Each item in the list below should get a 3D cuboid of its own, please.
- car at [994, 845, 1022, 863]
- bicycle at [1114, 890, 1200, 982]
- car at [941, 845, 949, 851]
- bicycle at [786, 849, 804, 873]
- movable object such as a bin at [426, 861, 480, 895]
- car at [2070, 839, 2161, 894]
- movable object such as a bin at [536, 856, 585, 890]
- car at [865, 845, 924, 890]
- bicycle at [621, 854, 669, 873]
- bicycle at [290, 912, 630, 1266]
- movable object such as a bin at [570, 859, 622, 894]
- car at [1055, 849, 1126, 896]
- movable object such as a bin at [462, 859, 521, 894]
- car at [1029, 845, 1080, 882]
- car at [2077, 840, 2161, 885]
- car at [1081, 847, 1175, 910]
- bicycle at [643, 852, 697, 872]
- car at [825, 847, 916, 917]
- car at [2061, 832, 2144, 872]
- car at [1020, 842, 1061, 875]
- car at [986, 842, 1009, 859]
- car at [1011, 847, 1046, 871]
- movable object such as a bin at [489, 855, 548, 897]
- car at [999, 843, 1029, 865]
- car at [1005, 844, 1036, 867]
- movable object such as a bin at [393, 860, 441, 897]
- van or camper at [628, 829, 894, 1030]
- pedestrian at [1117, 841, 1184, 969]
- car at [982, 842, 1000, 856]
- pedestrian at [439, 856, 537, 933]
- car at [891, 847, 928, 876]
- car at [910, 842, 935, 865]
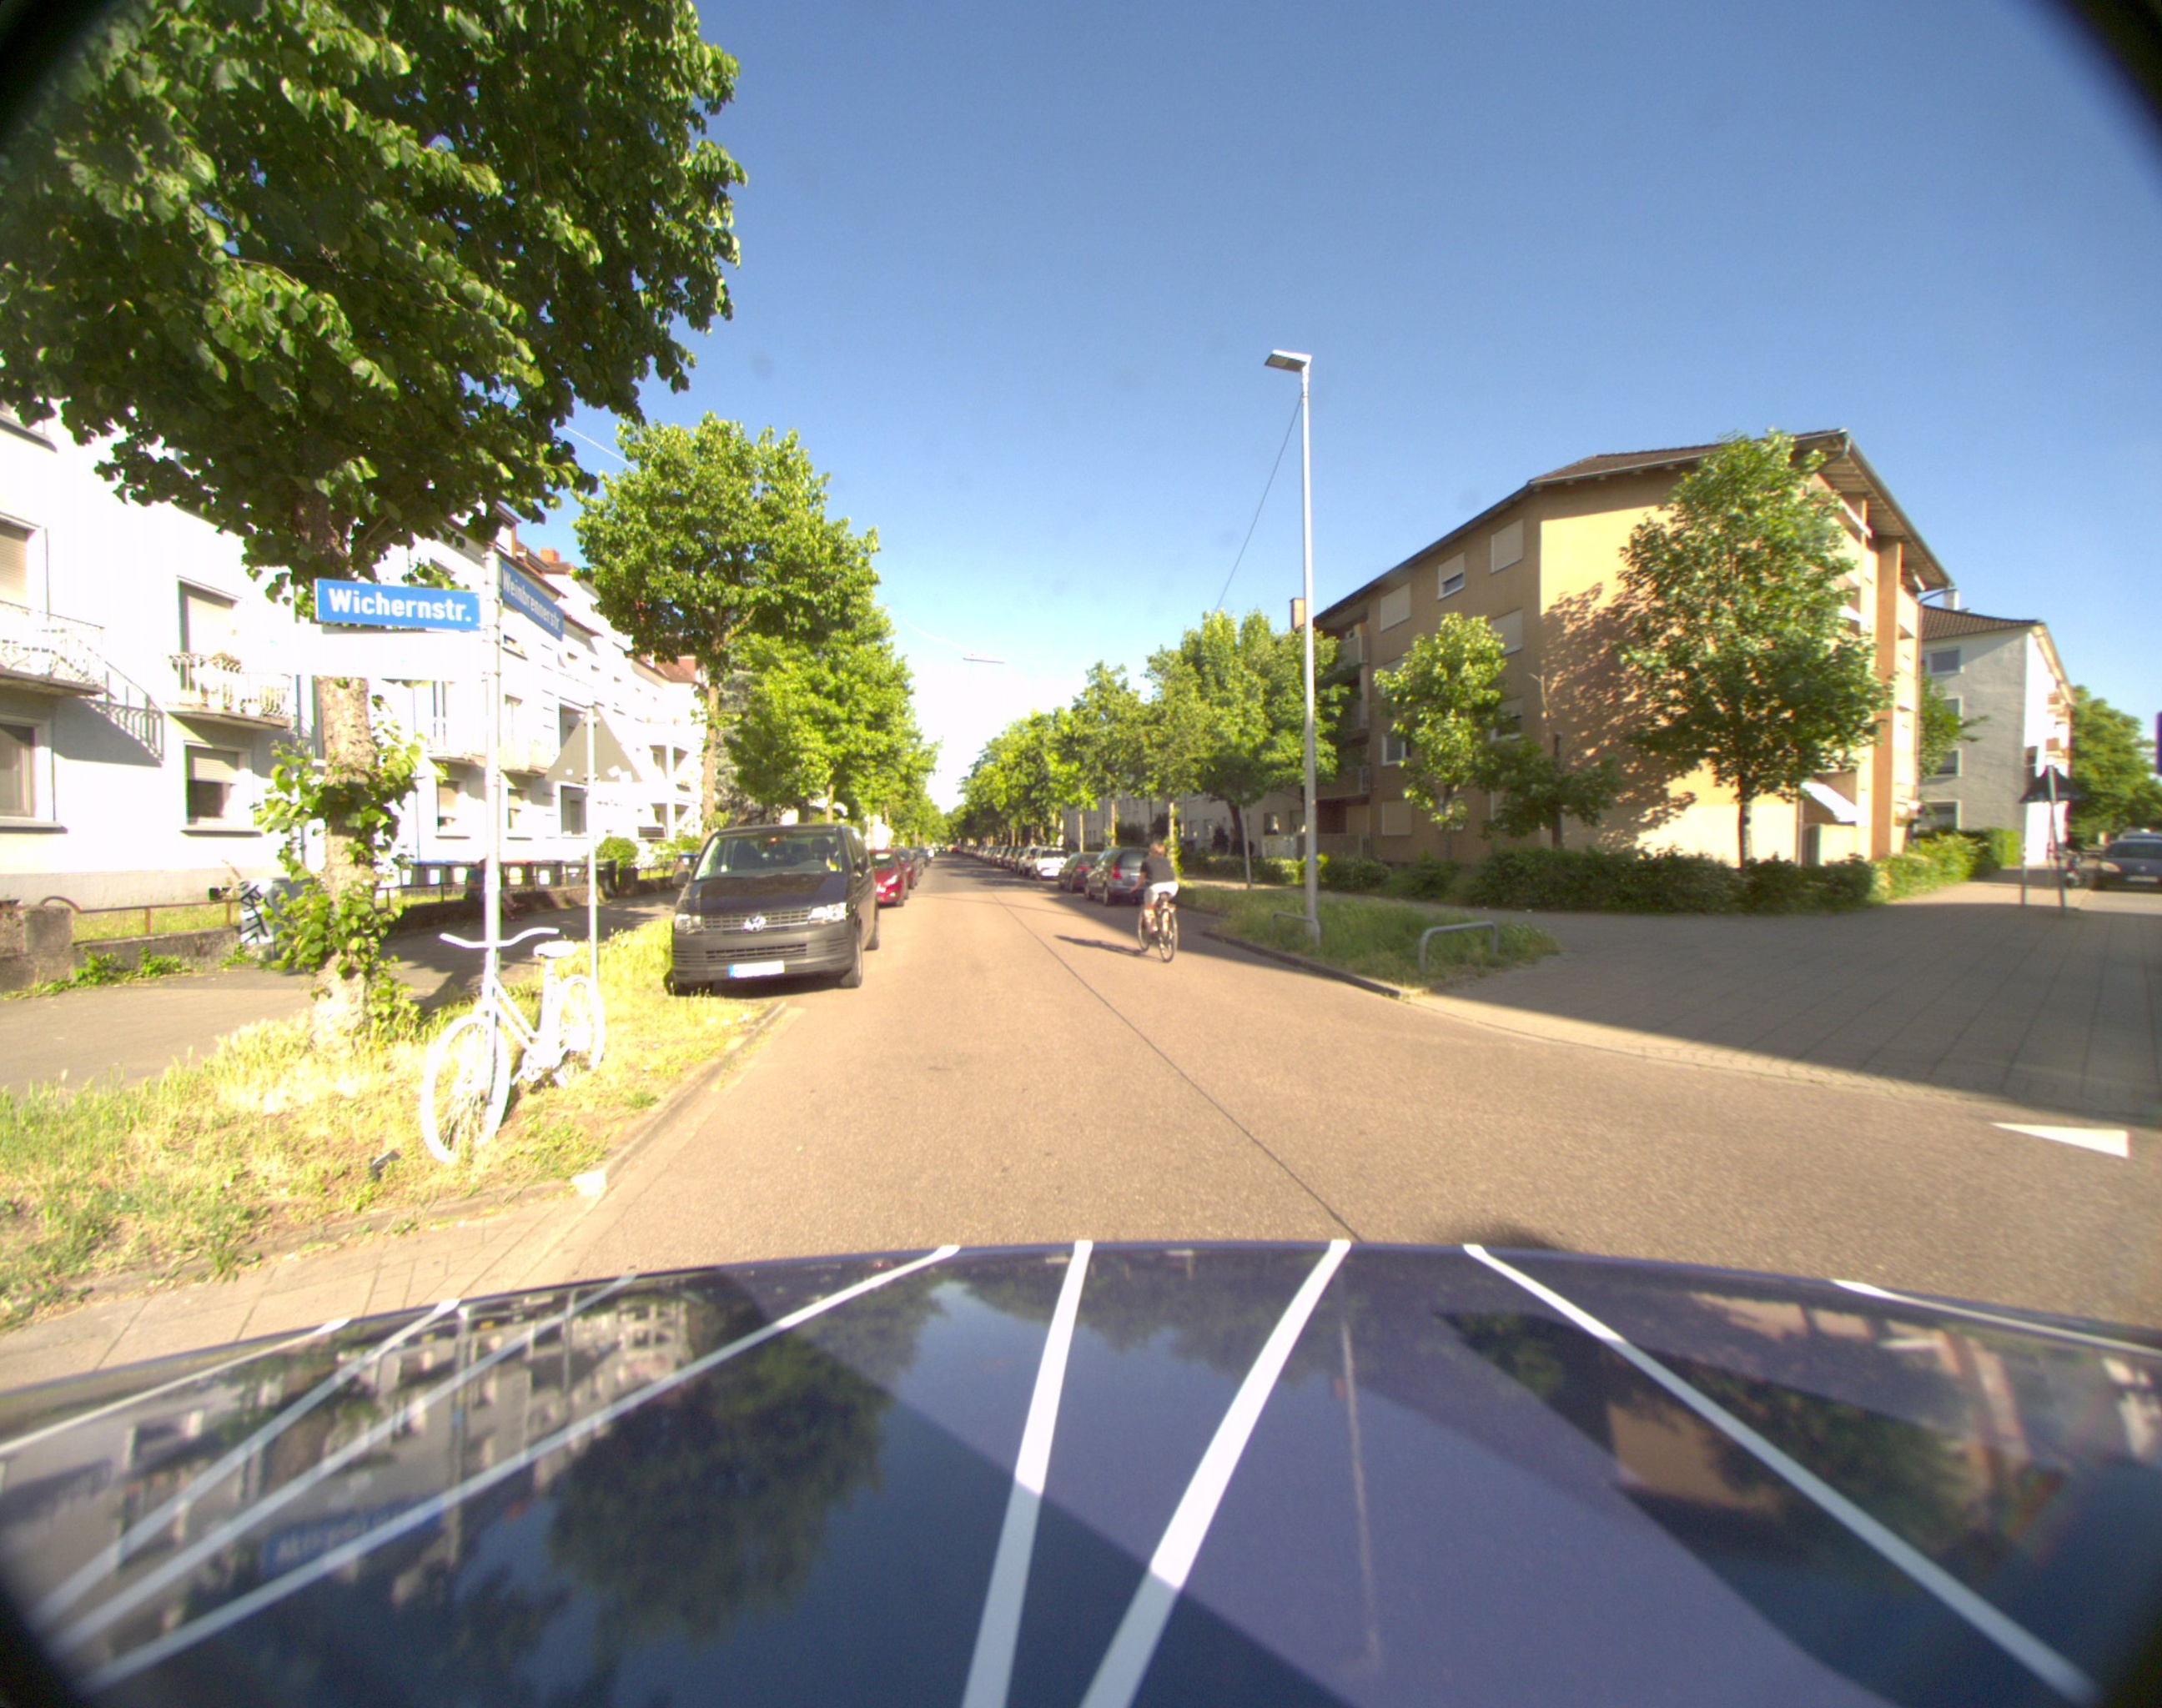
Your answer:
[{"bbox_3d":[-5.972,-0.038,61.719,1.881,1.367,4.063,0,2,-11],"label":"car"},{"bbox_3d":[1.011,1.078,10.536,0.551,1.006,1.916,-2,2,-14],"label":"bicycle"},{"bbox_3d":[-31.046,-1.376,173.607,1.770,1.487,3.778,-1,1,-12],"label":"car"},{"bbox_3d":[-15.713,0.356,41.814,0.490,1.190,2.172,-3,2,-11],"label":"bicycle"},{"bbox_3d":[-16.681,0.639,20.195,0.778,0.818,0.742,-3,2,-5],"label":"movable object such as a bin"},{"bbox_3d":[30.890,0.315,22.258,4.008,1.506,1.903,-1,2,-43],"label":"car"},{"bbox_3d":[-14.177,0.517,20.731,0.778,0.858,0.765,-3,2,-5],"label":"movable object such as a bin"},{"bbox_3d":[-7.392,0.488,30.449,1.936,1.559,4.588,1,2,-10],"label":"car"},{"bbox_3d":[-21.698,0.465,37.837,2.036,0.913,0.558,0,2,-6],"label":"bicycle"},{"bbox_3d":[-3.066,1.011,4.042,0.530,1.187,2.027,-1,2,-14],"label":"bicycle"},{"bbox_3d":[-13.300,0.606,20.861,0.778,0.858,1.009,-3,2,-5],"label":"movable object such as a bin"},{"bbox_3d":[0.259,0.608,27.351,1.665,1.387,4.086,-3,2,-11],"label":"car"},{"bbox_3d":[-15.859,0.600,20.470,0.778,0.858,1.009,-3,2,-5],"label":"movable object such as a bin"},{"bbox_3d":[-1.323,0.414,36.252,1.722,1.518,3.995,-3,2,-11],"label":"car"},{"bbox_3d":[35.162,0.251,25.456,4.007,1.237,1.994,-4,3,-40],"label":"car"},{"bbox_3d":[1.231,0.620,21.763,1.726,1.554,4.103,0,2,-11],"label":"car"},{"bbox_3d":[-19.337,0.379,35.773,2.067,0.765,0.625,-5,3,-10],"label":"bicycle"},{"bbox_3d":[-5.894,0.690,21.804,1.905,1.604,4.967,-2,2,-9],"label":"car"},{"bbox_3d":[43.137,-0.081,32.167,4.007,1.455,1.995,-3,0,-38],"label":"car"},{"bbox_3d":[-2.265,0.187,41.424,1.709,1.670,4.218,0,2,-11],"label":"car"},{"bbox_3d":[-8.133,-0.399,73.698,1.881,1.553,4.178,0,2,-11],"label":"car"},{"bbox_3d":[-3.297,0.298,47.197,1.663,1.384,4.232,-1,1,-11],"label":"car"},{"bbox_3d":[-15.080,0.569,20.397,0.778,1.021,1.009,-3,2,-5],"label":"movable object such as a bin"},{"bbox_3d":[-5.035,-0.055,56.734,1.822,1.576,4.403,0,1,-11],"label":"car"},{"bbox_3d":[-4.173,0.092,51.901,1.654,1.437,3.962,0,2,-11],"label":"car"},{"bbox_3d":[-17.504,0.631,20.041,0.672,0.917,0.595,-3,3,-5],"label":"movable object such as a bin"},{"bbox_3d":[-3.739,0.645,10.078,1.996,1.852,5.380,-3,2,-10],"label":"van or camper"},{"bbox_3d":[0.941,0.658,10.487,0.692,1.631,1.045,-3,3,-5],"label":"pedestrian"},{"bbox_3d":[-10.121,-0.577,85.201,1.770,1.487,4.010,-3,2,-10],"label":"car"},{"bbox_3d":[-10.910,0.730,14.024,1.085,1.288,0.818,-3,3,-11],"label":"pedestrian"},{"bbox_3d":[-9.430,0.395,42.050,1.770,1.389,3.691,-3,2,-10],"label":"car"},{"bbox_3d":[-12.356,-0.051,59.286,1.770,1.627,4.010,-3,2,-12],"label":"car"}]
